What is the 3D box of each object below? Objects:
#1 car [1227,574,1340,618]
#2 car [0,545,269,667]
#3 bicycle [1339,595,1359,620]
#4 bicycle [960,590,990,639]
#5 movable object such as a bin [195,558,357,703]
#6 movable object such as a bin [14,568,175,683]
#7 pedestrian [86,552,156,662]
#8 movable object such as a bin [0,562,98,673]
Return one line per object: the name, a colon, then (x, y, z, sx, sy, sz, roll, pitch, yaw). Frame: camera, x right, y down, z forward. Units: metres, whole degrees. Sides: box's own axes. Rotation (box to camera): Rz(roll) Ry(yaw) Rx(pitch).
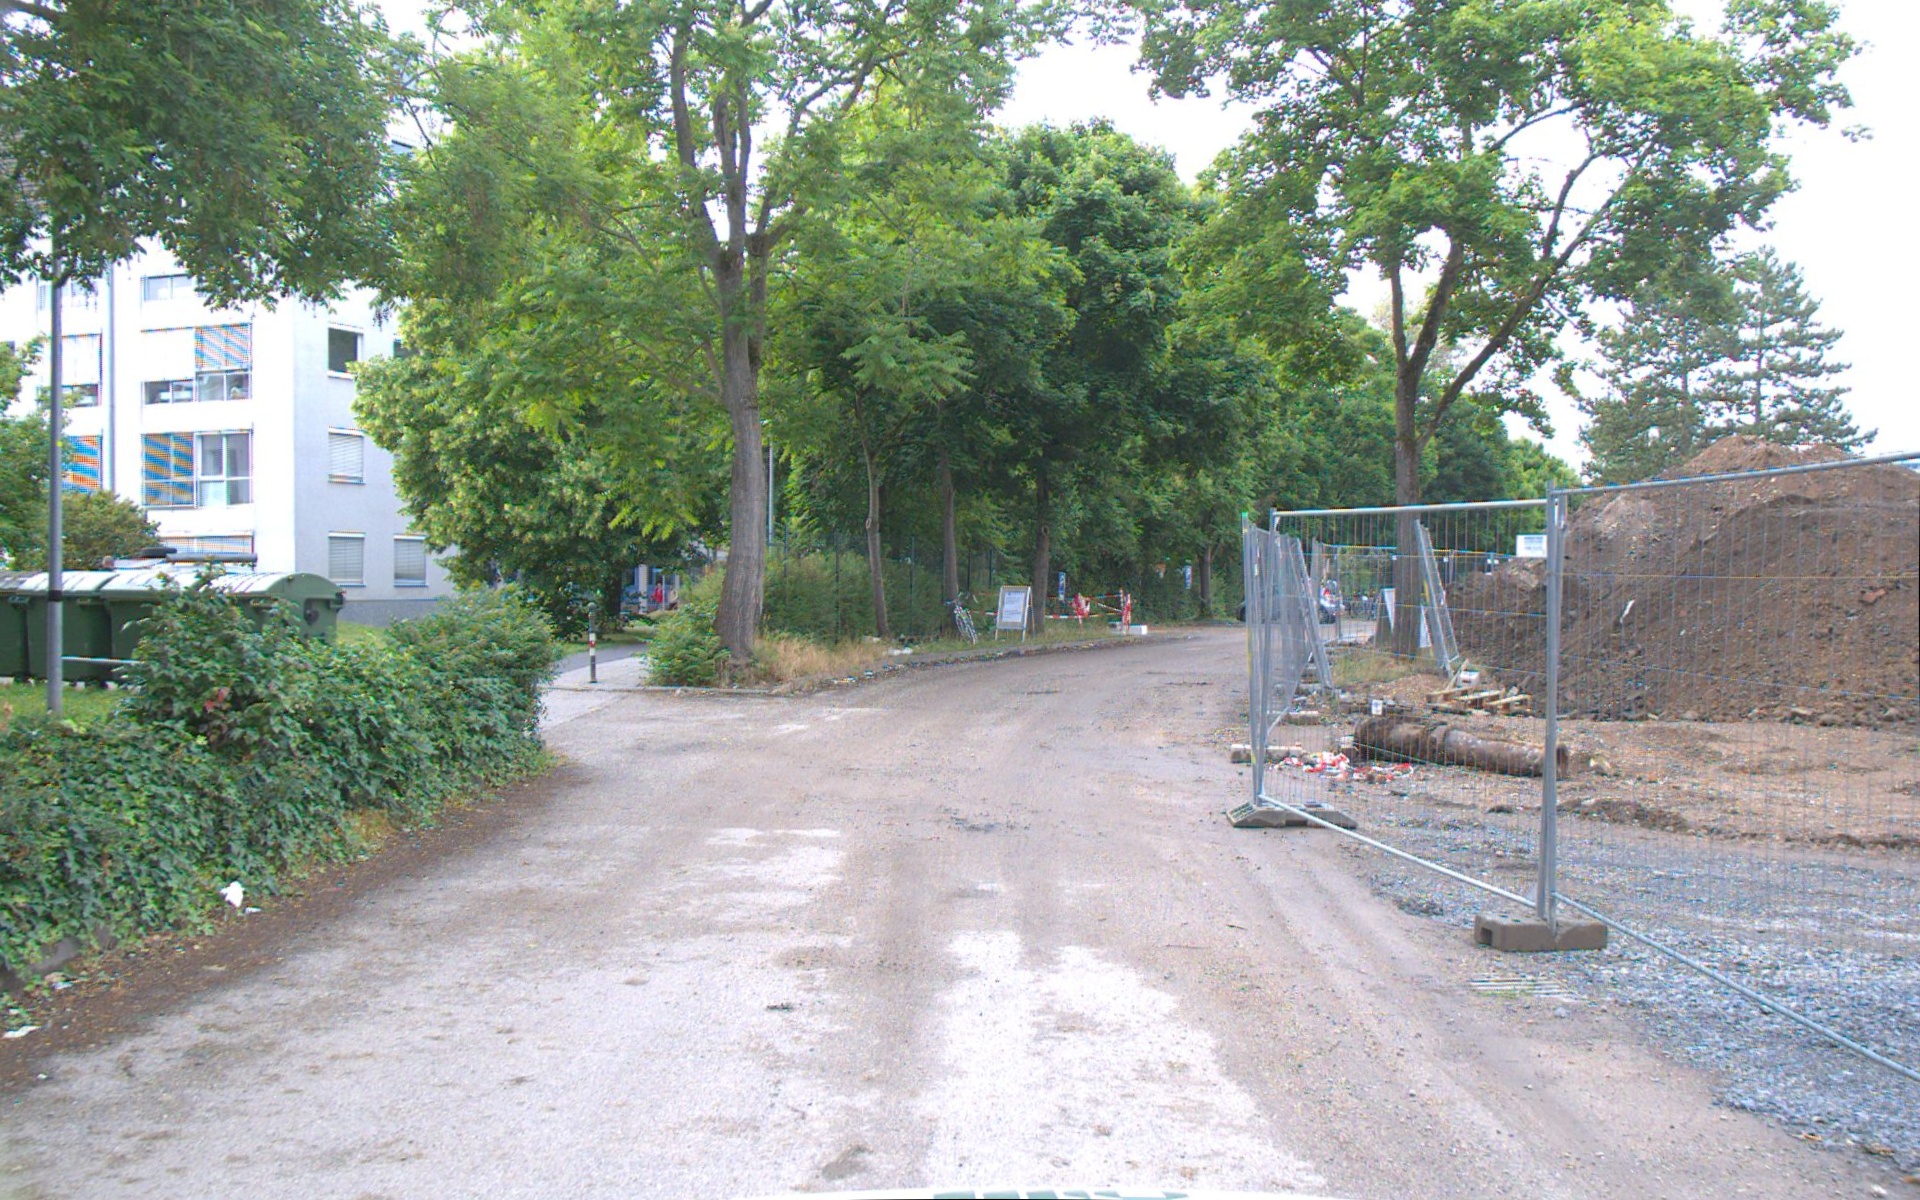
car: (11.619, -0.173, 59.386, 3.629, 1.527, 1.865, 1, 1, 29)
car: (-14.985, 0.110, 30.252, 1.810, 2.049, 4.351, -1, 0, 21)
bicycle: (15.995, 0.310, 67.972, 0.754, 0.995, 2.033, 0, 1, 14)
bicycle: (0.304, 0.272, 32.142, 0.409, 0.921, 1.155, 0, 1, 9)
movable object such as a bin: (-7.414, 0.300, 17.934, 1.327, 1.475, 1.052, 2, 1, 34)
movable object such as a bin: (-10.055, 0.280, 19.241, 1.321, 1.287, 1.056, 0, 1, 20)
pedestrian: (-14.302, 0.121, 28.196, 0.682, 1.840, 0.756, -2, 0, 22)
movable object such as a bin: (-11.328, 0.190, 19.923, 1.321, 1.287, 1.056, 0, 1, 17)
